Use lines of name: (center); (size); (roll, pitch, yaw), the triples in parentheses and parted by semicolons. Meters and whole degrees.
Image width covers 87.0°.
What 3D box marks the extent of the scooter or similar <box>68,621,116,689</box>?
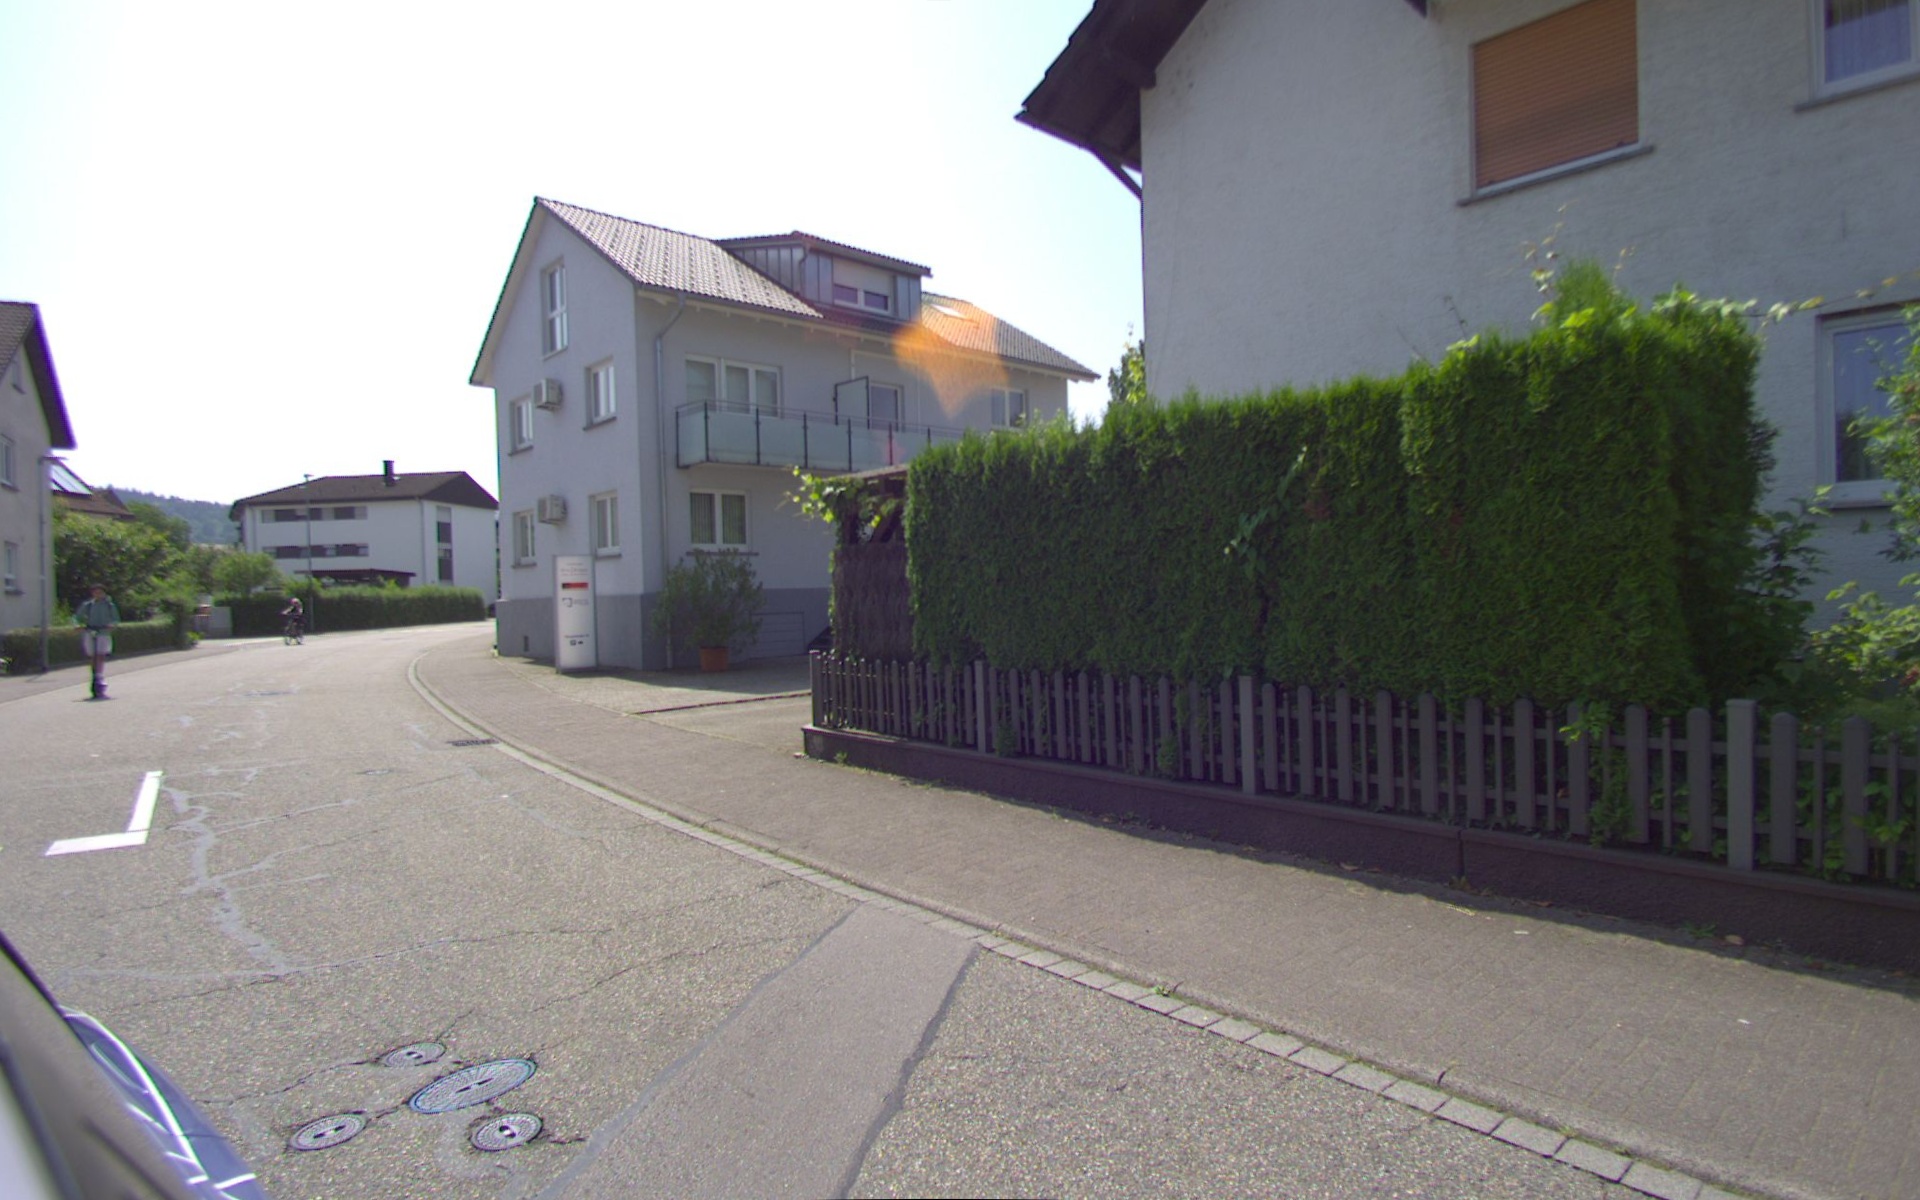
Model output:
scooter or similar: (-14.751, 0.917, 17.211); (0.534, 1.098, 0.693); (-2, 1, -35)

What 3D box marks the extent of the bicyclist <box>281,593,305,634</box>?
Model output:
bicyclist: (-24.714, 0.480, 37.479); (0.538, 1.501, 0.799); (-1, 1, -20)

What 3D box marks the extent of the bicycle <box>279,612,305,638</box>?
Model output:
bicycle: (-24.675, 0.922, 37.395); (0.513, 0.910, 1.317); (-1, 1, -20)

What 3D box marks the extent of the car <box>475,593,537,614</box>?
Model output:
car: (-37.242, 0.289, 83.045); (4.231, 1.684, 2.066); (0, 0, -1)

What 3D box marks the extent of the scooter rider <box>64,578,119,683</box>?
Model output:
scooter rider: (-14.754, 0.496, 17.207); (0.607, 1.737, 0.642); (-2, 1, -35)
